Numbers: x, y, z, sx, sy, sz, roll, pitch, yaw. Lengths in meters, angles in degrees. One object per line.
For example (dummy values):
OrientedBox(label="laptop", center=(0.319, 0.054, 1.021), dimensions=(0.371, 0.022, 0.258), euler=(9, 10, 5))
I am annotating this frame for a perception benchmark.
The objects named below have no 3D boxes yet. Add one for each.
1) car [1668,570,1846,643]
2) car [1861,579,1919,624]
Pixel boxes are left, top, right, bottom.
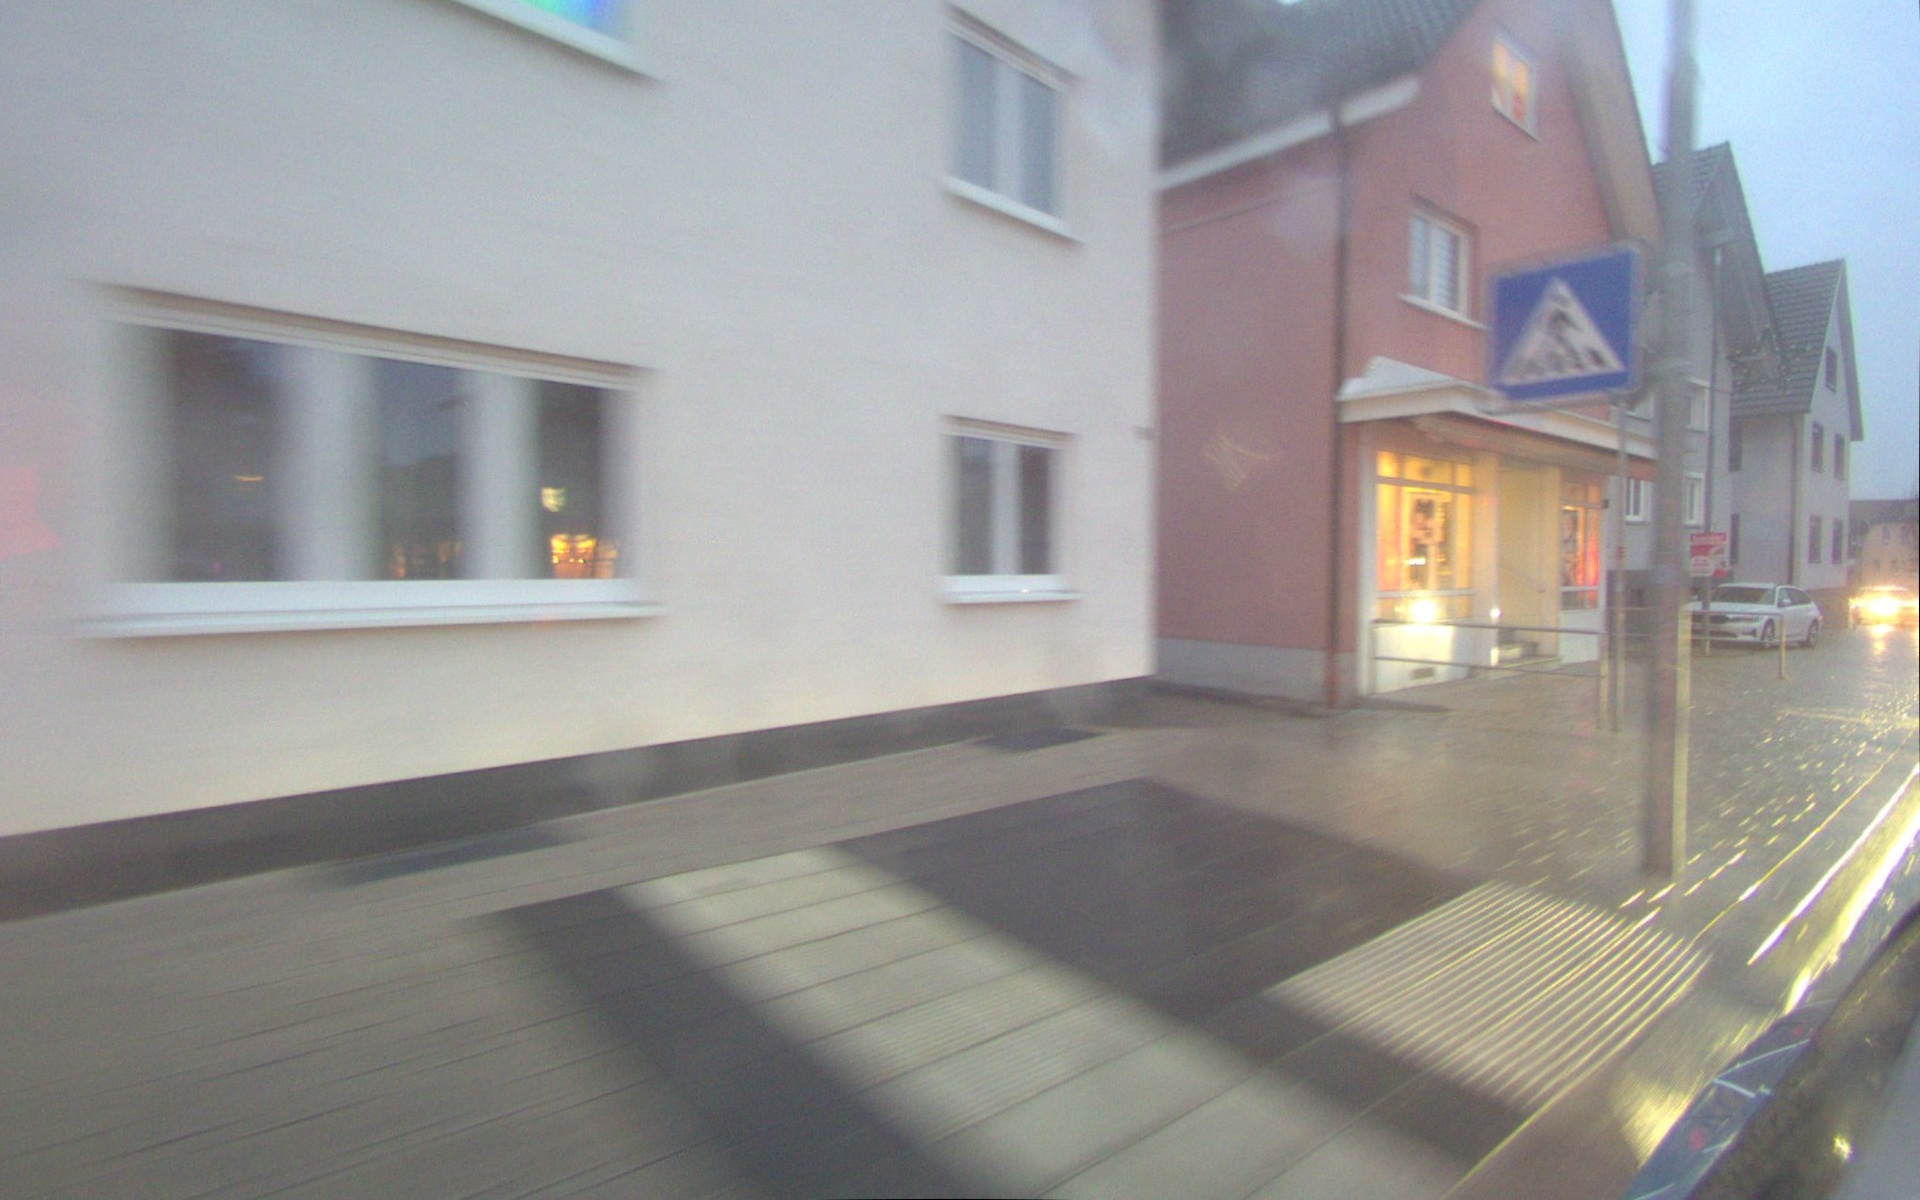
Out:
OrientedBox(label="car", center=(18.082, 0.093, 22.897), dimensions=(4.607, 1.504, 1.936), euler=(-1, 1, -35))
OrientedBox(label="car", center=(40.478, 0.028, 43.305), dimensions=(1.982, 1.878, 3.961), euler=(0, 1, 28))
